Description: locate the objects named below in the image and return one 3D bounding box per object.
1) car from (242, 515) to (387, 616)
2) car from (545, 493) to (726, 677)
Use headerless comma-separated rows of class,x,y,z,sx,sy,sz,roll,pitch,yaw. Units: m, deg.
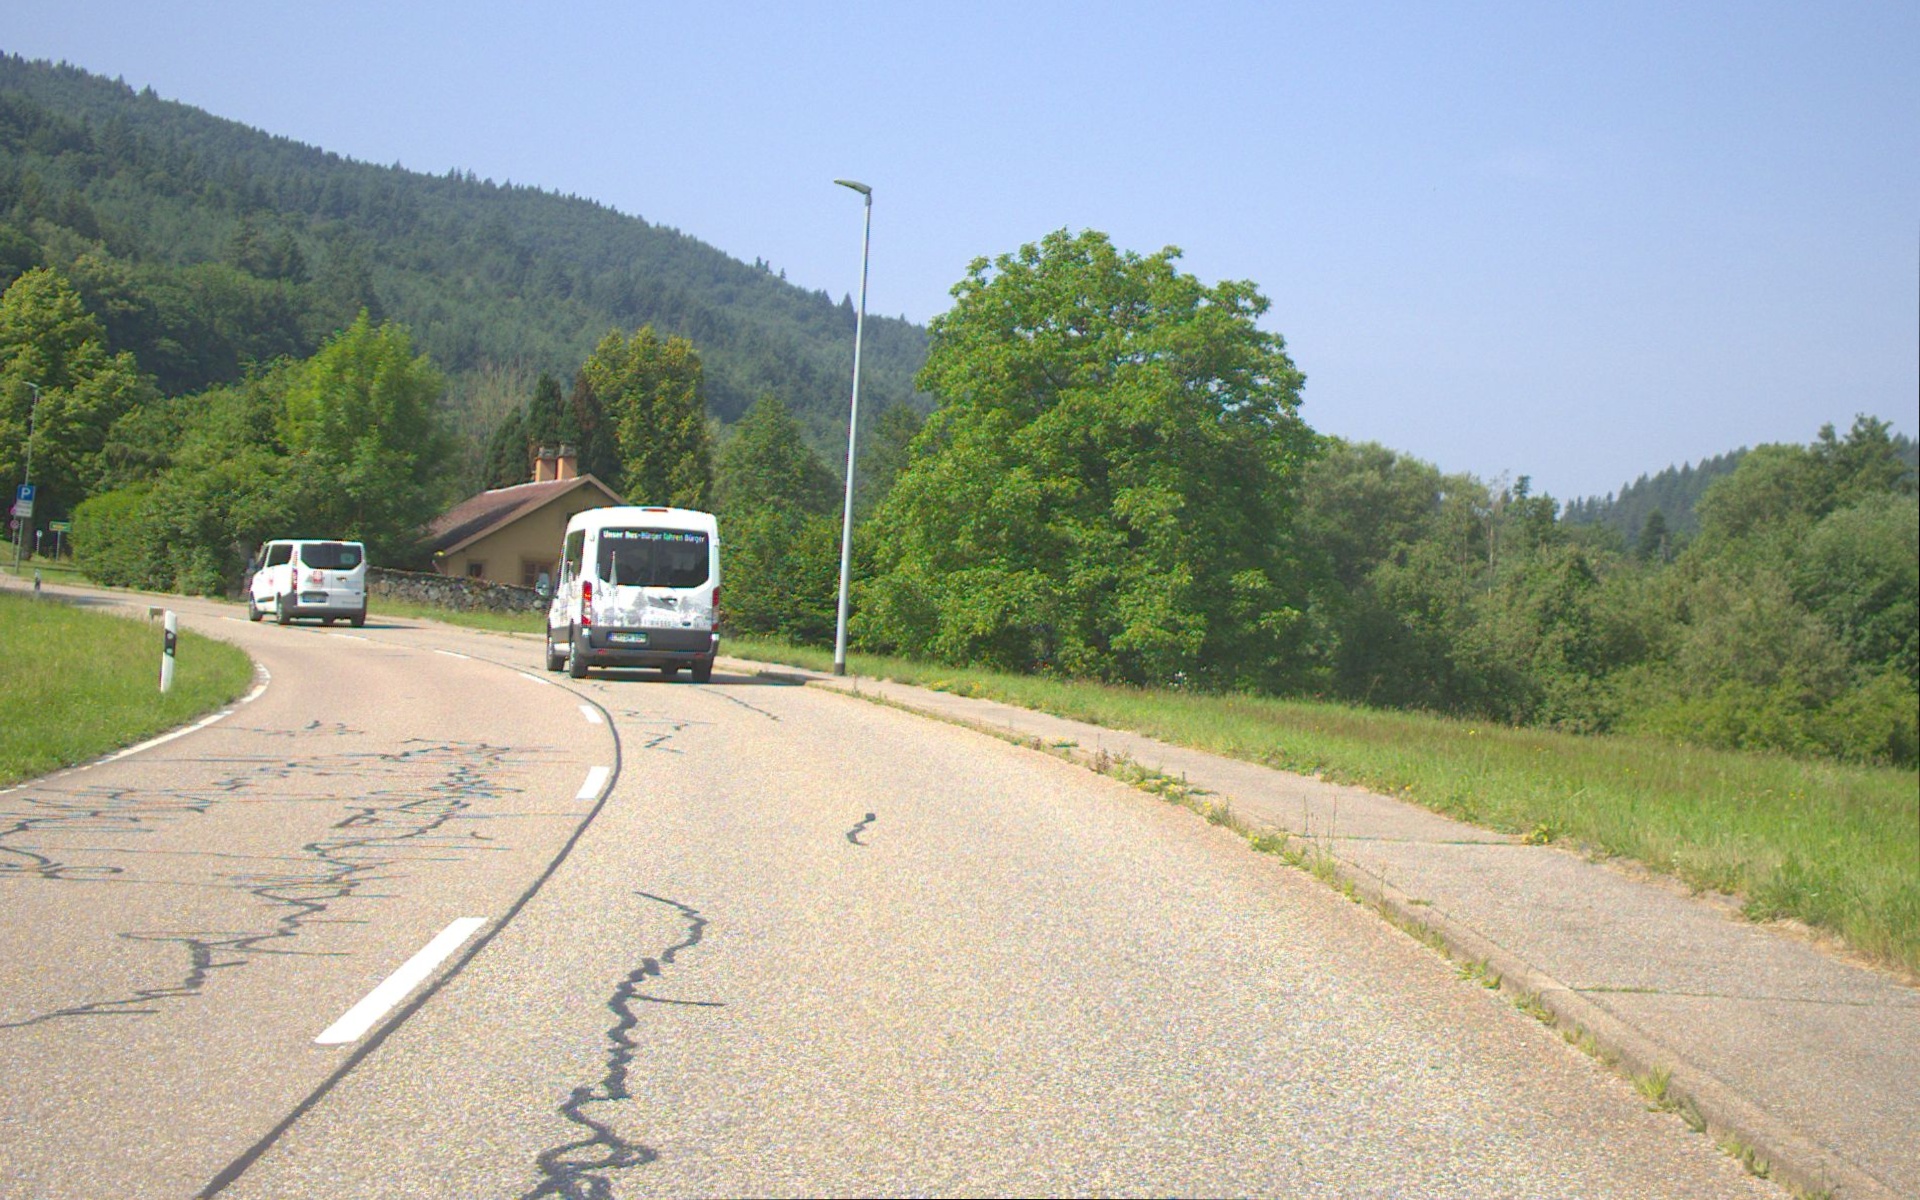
car,-15.139,-0.791,80.416,2.222,2.279,4.985,-1,0,-24
car,-4.812,-0.225,50.377,2.222,2.517,4.986,-1,0,-10
